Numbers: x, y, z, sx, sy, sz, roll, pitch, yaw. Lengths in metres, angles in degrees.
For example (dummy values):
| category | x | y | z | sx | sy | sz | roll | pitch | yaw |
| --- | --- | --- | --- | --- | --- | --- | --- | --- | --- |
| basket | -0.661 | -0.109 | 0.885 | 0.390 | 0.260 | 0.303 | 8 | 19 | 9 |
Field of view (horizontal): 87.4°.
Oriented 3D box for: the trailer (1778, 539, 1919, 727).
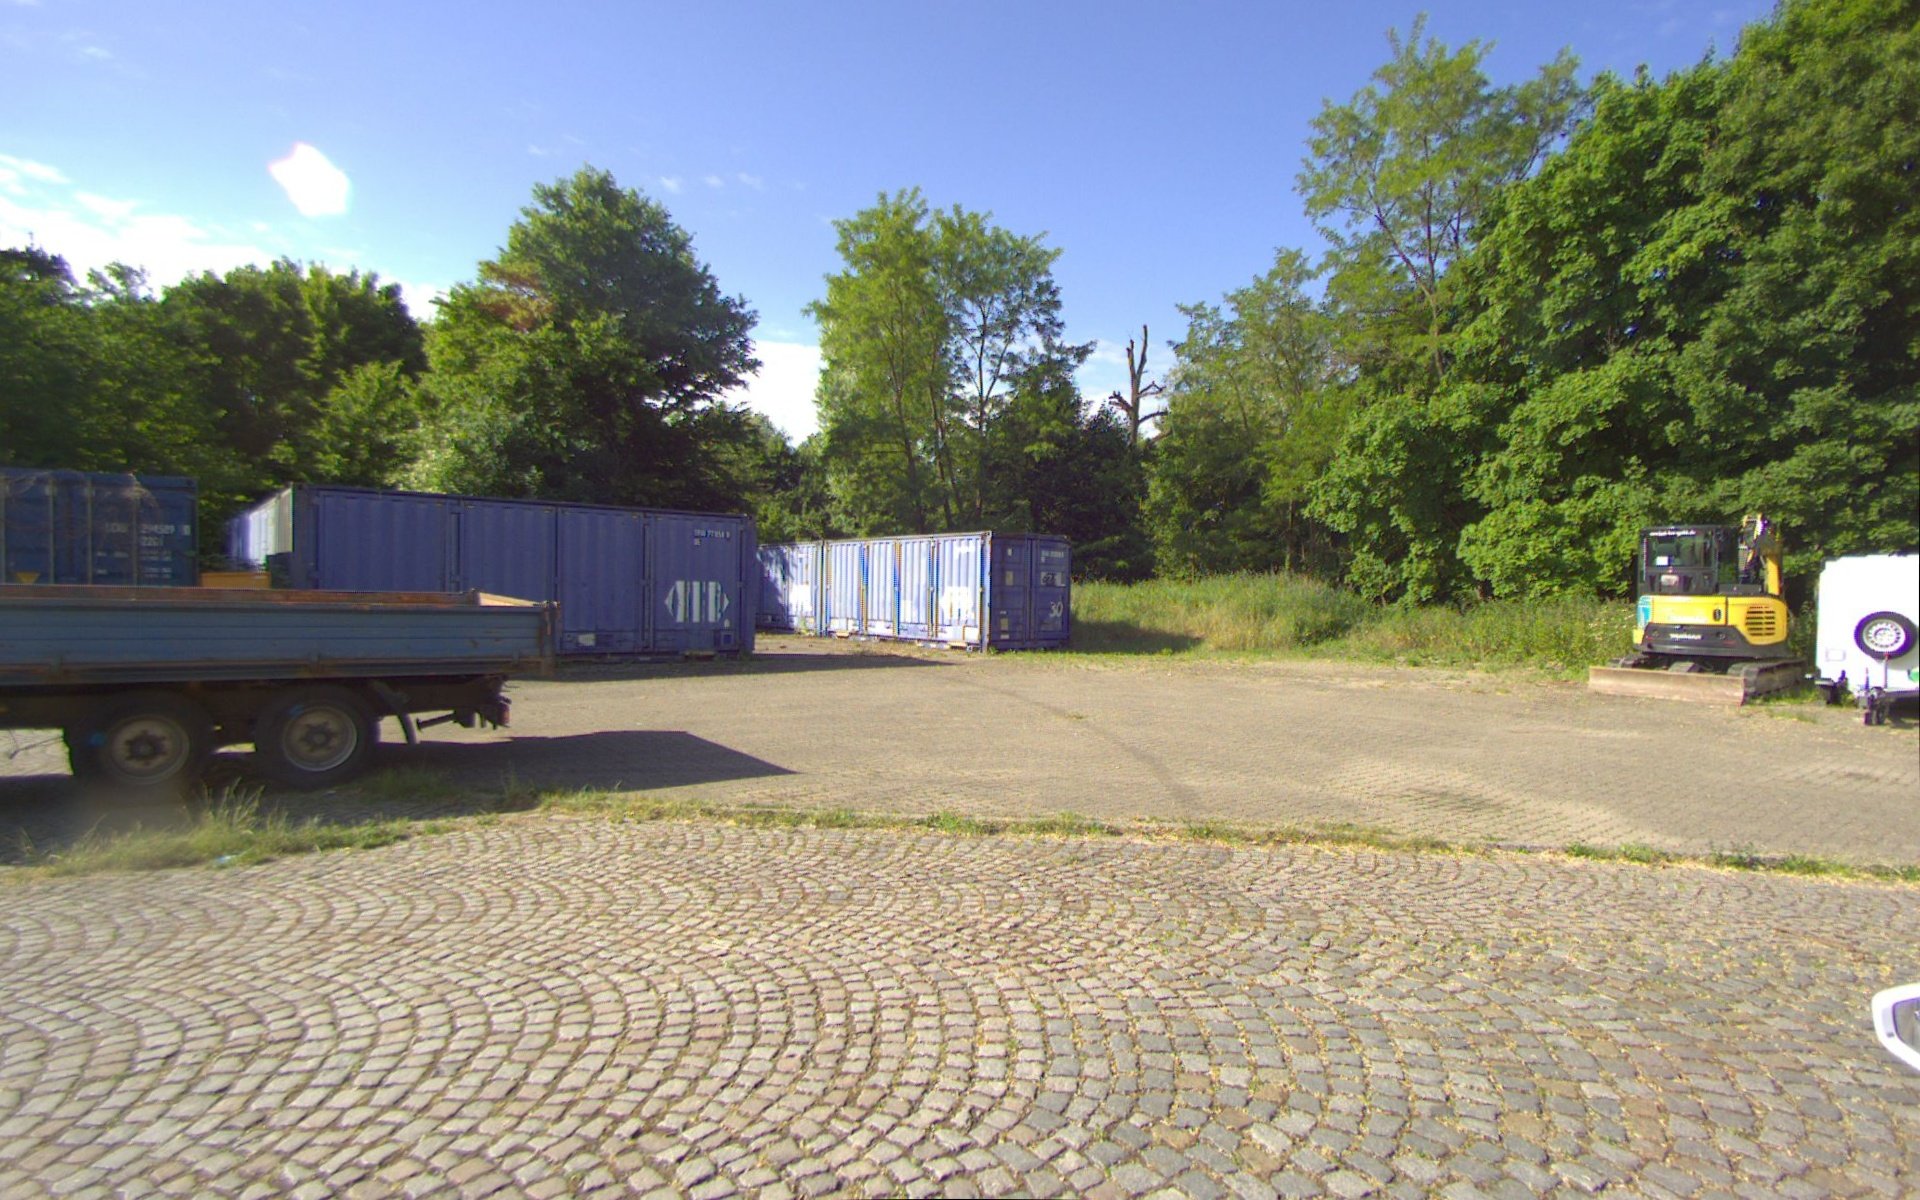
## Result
| category | x | y | z | sx | sy | sz | roll | pitch | yaw |
| --- | --- | --- | --- | --- | --- | --- | --- | --- | --- |
| trailer | 12.086 | 0.336 | 12.883 | 3.937 | 2.122 | 1.621 | -1 | 2 | -38 |

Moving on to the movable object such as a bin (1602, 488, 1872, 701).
| category | x | y | z | sx | sy | sz | roll | pitch | yaw |
| --- | --- | --- | --- | --- | --- | --- | --- | --- | --- |
| movable object such as a bin | 12.819 | -0.062 | 16.463 | 5.111 | 3.006 | 1.981 | 1 | 1 | -34 |

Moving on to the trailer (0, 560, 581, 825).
| category | x | y | z | sx | sy | sz | roll | pitch | yaw |
| --- | --- | --- | --- | --- | --- | --- | --- | --- | --- |
| trailer | -6.414 | 0.508 | 7.147 | 6.436 | 1.538 | 2.823 | 0 | 2 | -39 |
